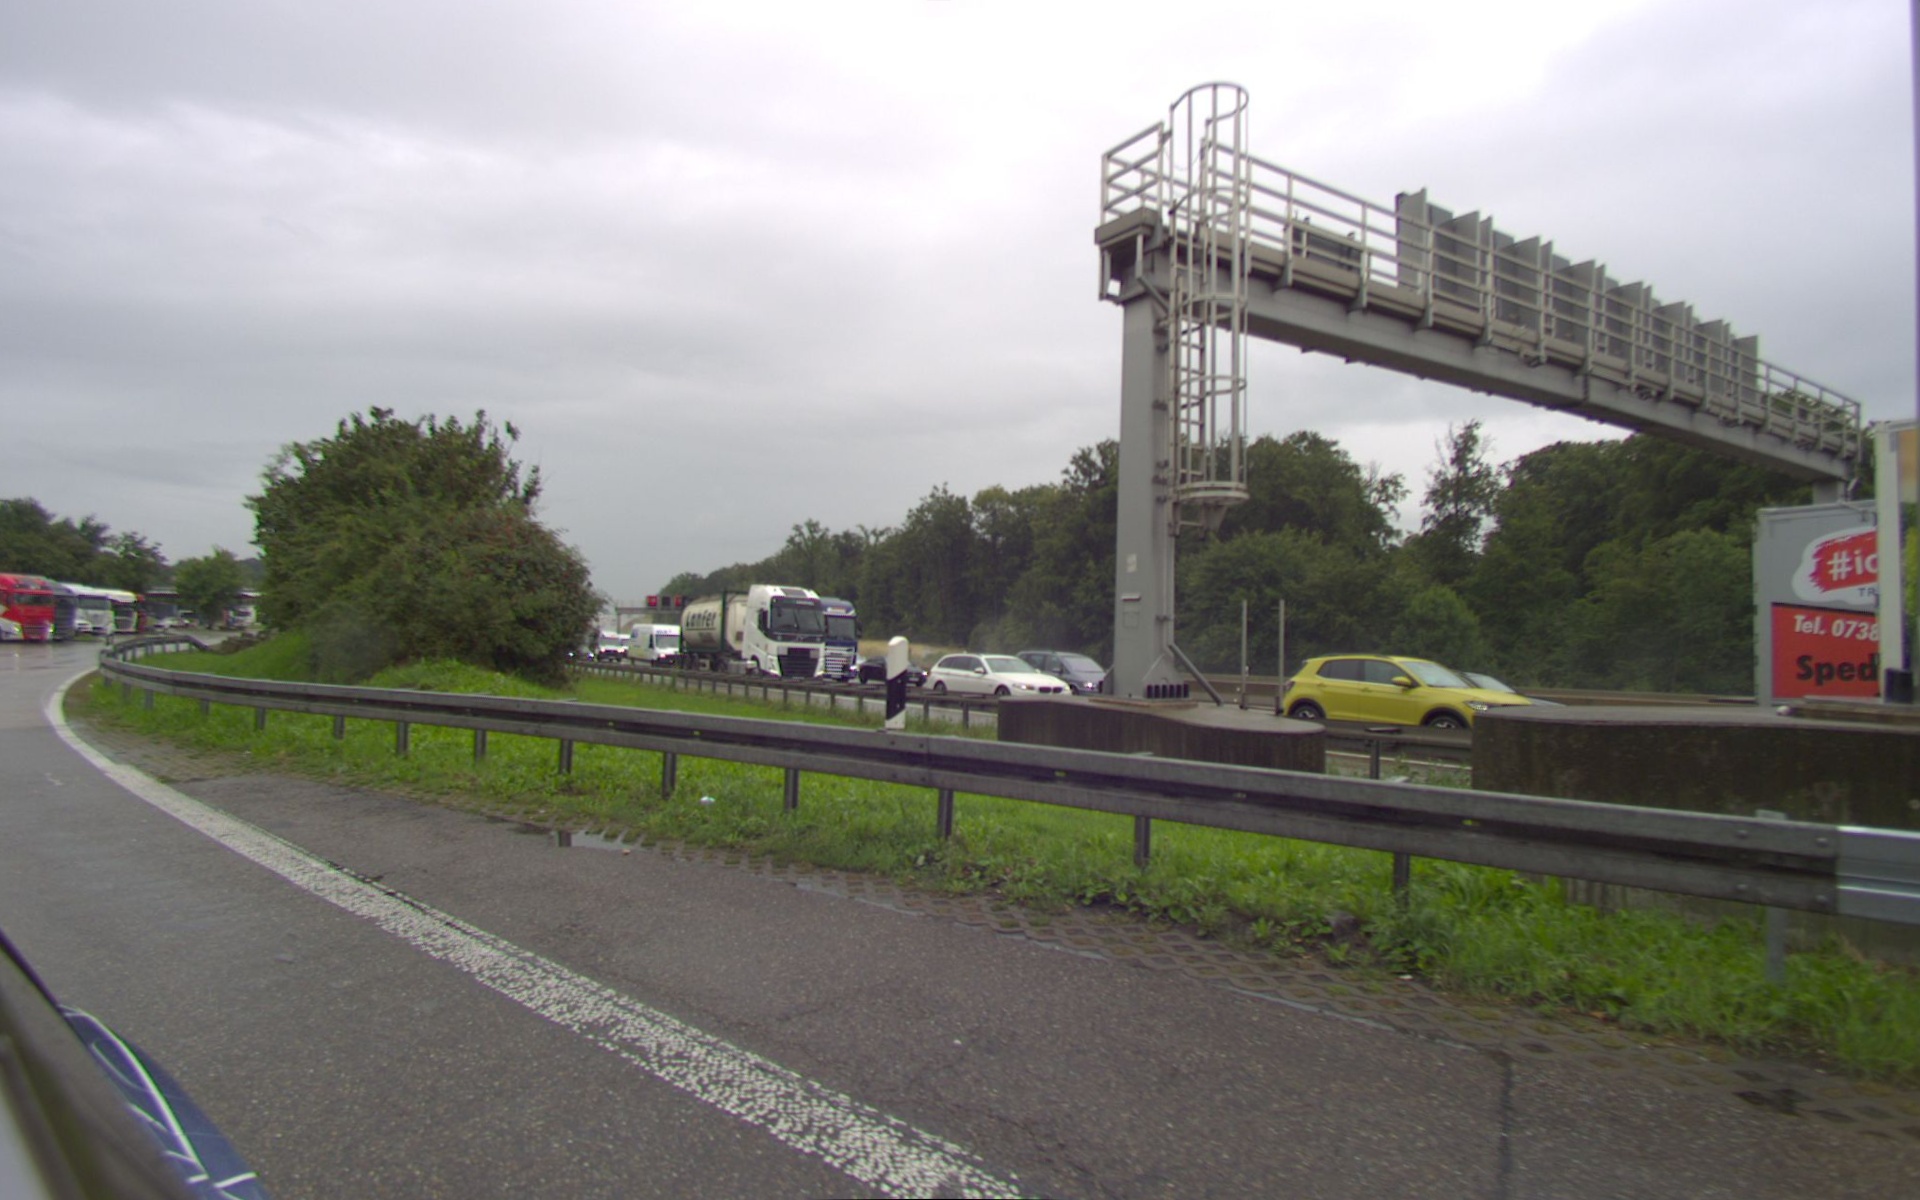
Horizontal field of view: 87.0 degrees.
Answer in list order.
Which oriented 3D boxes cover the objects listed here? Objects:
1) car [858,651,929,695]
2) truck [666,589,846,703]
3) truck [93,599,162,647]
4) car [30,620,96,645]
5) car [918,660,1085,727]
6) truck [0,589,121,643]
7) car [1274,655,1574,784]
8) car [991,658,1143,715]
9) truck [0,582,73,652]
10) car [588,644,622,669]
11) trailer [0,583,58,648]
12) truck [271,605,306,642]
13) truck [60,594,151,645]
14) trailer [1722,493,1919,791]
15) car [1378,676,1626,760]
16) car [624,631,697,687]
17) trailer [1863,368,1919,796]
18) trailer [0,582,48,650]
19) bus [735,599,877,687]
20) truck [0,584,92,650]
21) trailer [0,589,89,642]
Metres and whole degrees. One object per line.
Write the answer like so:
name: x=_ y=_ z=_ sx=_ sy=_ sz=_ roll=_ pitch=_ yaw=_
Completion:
car: x=-3.154 y=3.359 z=47.320 sx=1.597 sy=1.794 sz=4.011 roll=-1 pitch=-1 yaw=-32
truck: x=-9.100 y=1.773 z=43.166 sx=3.301 sy=4.101 sz=12.609 roll=-1 pitch=-1 yaw=-32
truck: x=-79.265 y=2.171 z=96.389 sx=4.579 sy=4.420 sz=2.598 roll=0 pitch=-2 yaw=11
car: x=-69.630 y=2.518 z=78.604 sx=3.960 sy=1.872 sz=1.841 roll=0 pitch=-2 yaw=13
car: x=0.961 y=2.364 z=26.450 sx=1.901 sy=1.534 sz=4.774 roll=3 pitch=-4 yaw=-34
truck: x=-73.693 y=1.298 z=82.874 sx=7.853 sy=4.122 sz=3.235 roll=1 pitch=-3 yaw=11
car: x=7.543 y=1.855 z=16.874 sx=1.769 sy=1.807 sz=4.250 roll=3 pitch=-3 yaw=-34
car: x=3.101 y=2.538 z=30.362 sx=1.901 sy=1.534 sz=4.774 roll=3 pitch=-4 yaw=-34
truck: x=-56.067 y=0.989 z=59.595 sx=4.967 sy=3.949 sz=3.235 roll=1 pitch=-3 yaw=11
car: x=-30.099 y=4.761 z=85.744 sx=1.707 sy=2.029 sz=4.010 roll=3 pitch=-3 yaw=-34
trailer: x=-65.119 y=0.864 z=64.897 sx=13.786 sy=3.949 sz=2.866 roll=1 pitch=-3 yaw=11
truck: x=-83.206 y=2.942 z=125.448 sx=3.191 sy=4.420 sz=6.332 roll=2 pitch=-2 yaw=-31
truck: x=-77.067 y=1.774 z=91.312 sx=5.751 sy=4.420 sz=3.235 roll=0 pitch=-2 yaw=11
trailer: x=16.292 y=0.414 z=10.086 sx=2.591 sy=3.894 sz=13.710 roll=3 pitch=-4 yaw=-34
car: x=12.069 y=2.555 z=22.846 sx=1.966 sy=1.542 sz=4.552 roll=3 pitch=-3 yaw=-33
car: x=-16.130 y=3.048 z=54.240 sx=2.329 sy=2.663 sz=6.918 roll=-1 pitch=-1 yaw=-29
trailer: x=14.214 y=-0.337 z=5.404 sx=2.878 sy=4.237 sz=13.672 roll=3 pitch=-4 yaw=-33
trailer: x=-62.625 y=0.821 z=60.861 sx=14.671 sy=3.949 sz=3.235 roll=1 pitch=-3 yaw=11
bus: x=-7.759 y=1.967 z=49.277 sx=2.855 sy=3.797 sz=10.459 roll=-1 pitch=-1 yaw=-32
truck: x=-58.873 y=1.047 z=63.687 sx=6.485 sy=3.949 sz=2.890 roll=1 pitch=-3 yaw=11
trailer: x=-79.556 y=1.195 z=84.009 sx=13.388 sy=4.122 sz=3.235 roll=1 pitch=-3 yaw=11
